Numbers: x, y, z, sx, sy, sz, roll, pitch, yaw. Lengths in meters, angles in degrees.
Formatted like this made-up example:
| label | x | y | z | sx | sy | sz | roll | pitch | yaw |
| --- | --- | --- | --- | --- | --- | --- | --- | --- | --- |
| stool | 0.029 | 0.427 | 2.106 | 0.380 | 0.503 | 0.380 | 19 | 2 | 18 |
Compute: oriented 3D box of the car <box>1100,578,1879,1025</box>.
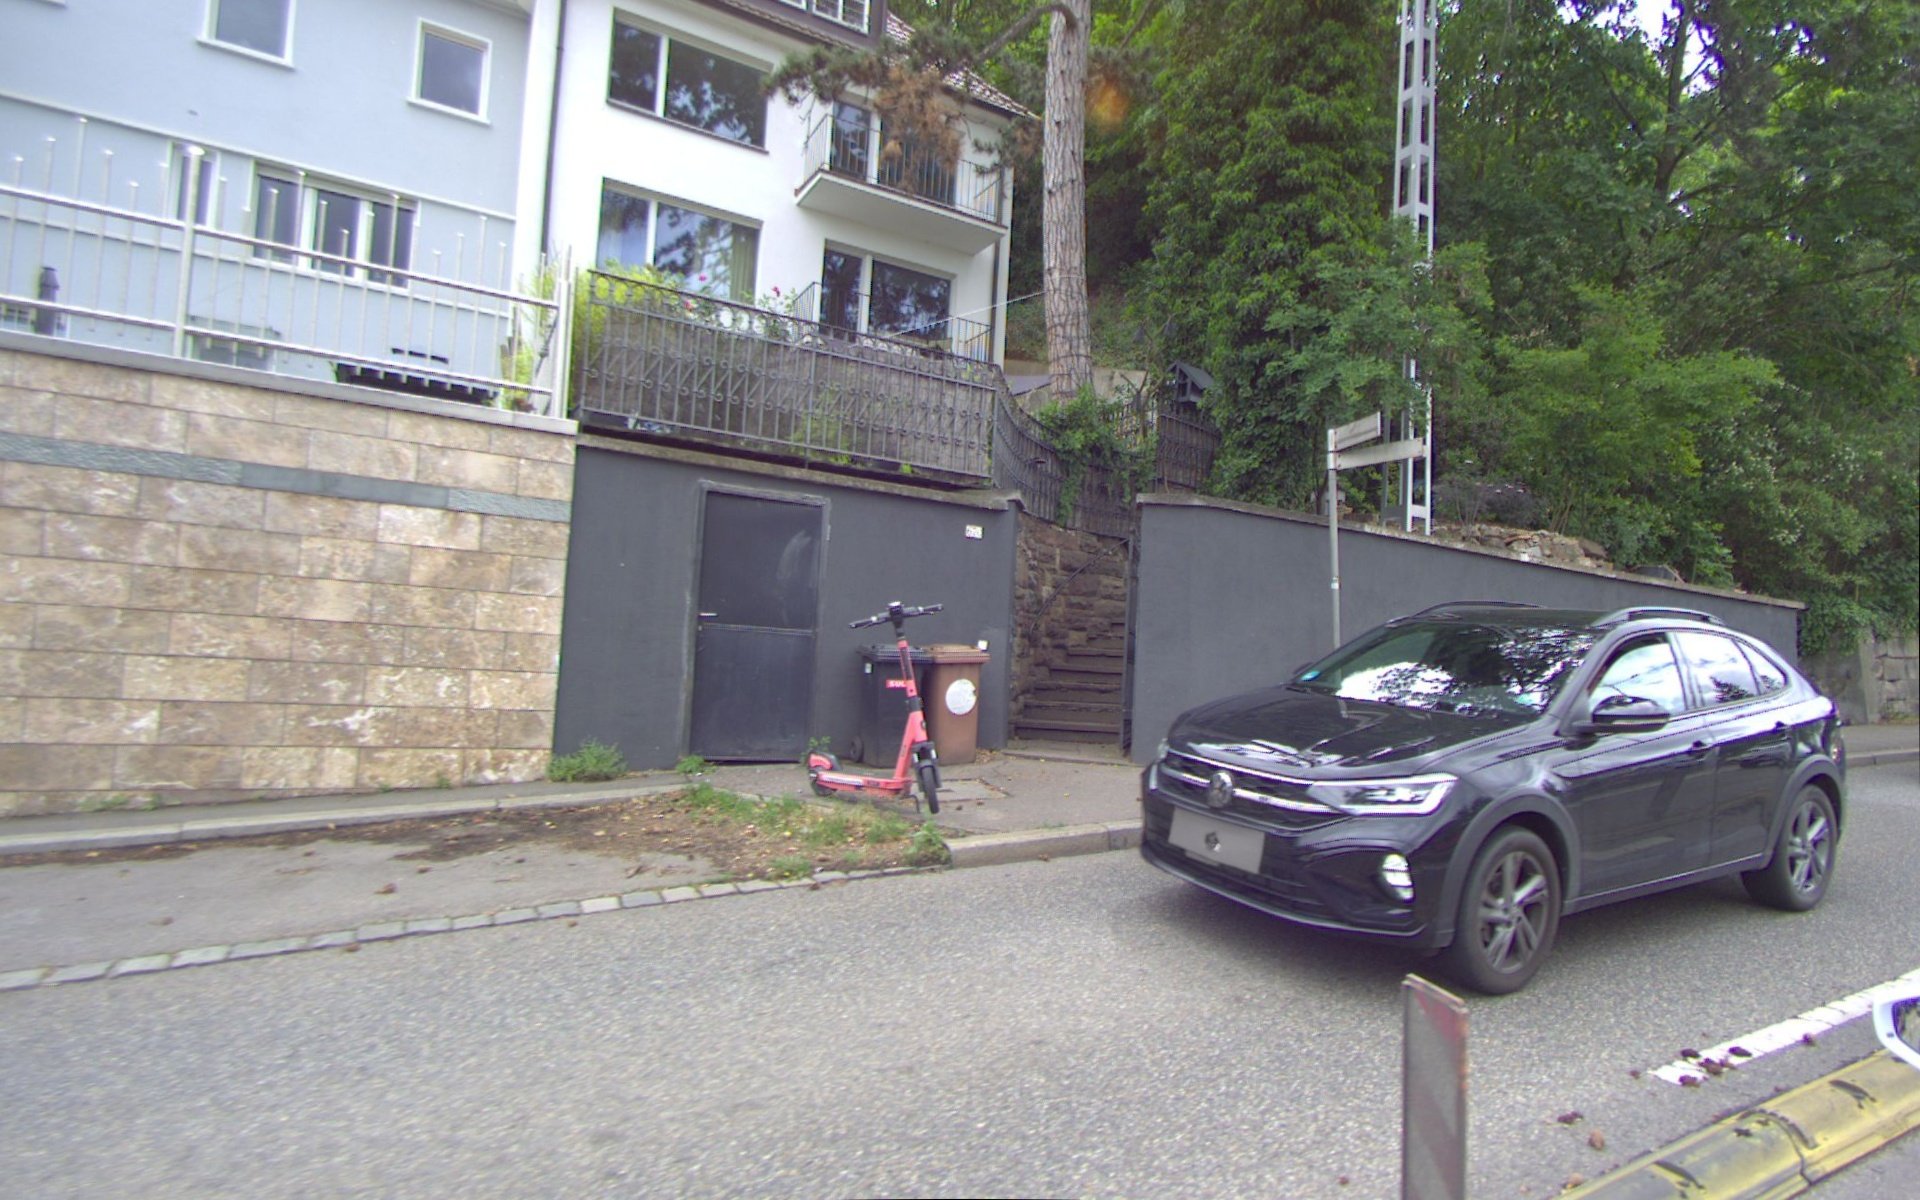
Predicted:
| label | x | y | z | sx | sy | sz | roll | pitch | yaw |
| --- | --- | --- | --- | --- | --- | --- | --- | --- | --- |
| car | 2.820 | 0.728 | 5.217 | 3.864 | 1.550 | 1.750 | 1 | 1 | -30 |

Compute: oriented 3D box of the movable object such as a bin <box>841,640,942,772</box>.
| label | x | y | z | sx | sy | sz | roll | pitch | yaw |
| --- | --- | --- | --- | --- | --- | --- | --- | --- | --- |
| movable object such as a bin | -0.538 | 0.804 | 7.802 | 0.594 | 0.951 | 0.540 | 2 | 0 | -29 |

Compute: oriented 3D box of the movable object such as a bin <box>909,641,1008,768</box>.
| label | x | y | z | sx | sy | sz | roll | pitch | yaw |
| --- | --- | --- | --- | --- | --- | --- | --- | --- | --- |
| movable object such as a bin | -0.015 | 0.822 | 8.093 | 0.594 | 0.951 | 0.540 | 2 | 0 | -29 |

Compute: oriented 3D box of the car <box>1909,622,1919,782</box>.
| label | x | y | z | sx | sy | sz | roll | pitch | yaw |
| --- | --- | --- | --- | --- | --- | --- | --- | --- | --- |
| car | 11.298 | 1.009 | 9.677 | 4.452 | 1.484 | 1.784 | 1 | 0 | -28 |

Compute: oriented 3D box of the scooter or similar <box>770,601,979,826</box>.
| label | x | y | z | sx | sy | sz | roll | pitch | yaw |
| --- | --- | --- | --- | --- | --- | --- | --- | --- | --- |
| scooter or similar | -0.537 | 0.649 | 6.215 | 1.193 | 1.249 | 0.494 | 2 | 0 | 30 |
